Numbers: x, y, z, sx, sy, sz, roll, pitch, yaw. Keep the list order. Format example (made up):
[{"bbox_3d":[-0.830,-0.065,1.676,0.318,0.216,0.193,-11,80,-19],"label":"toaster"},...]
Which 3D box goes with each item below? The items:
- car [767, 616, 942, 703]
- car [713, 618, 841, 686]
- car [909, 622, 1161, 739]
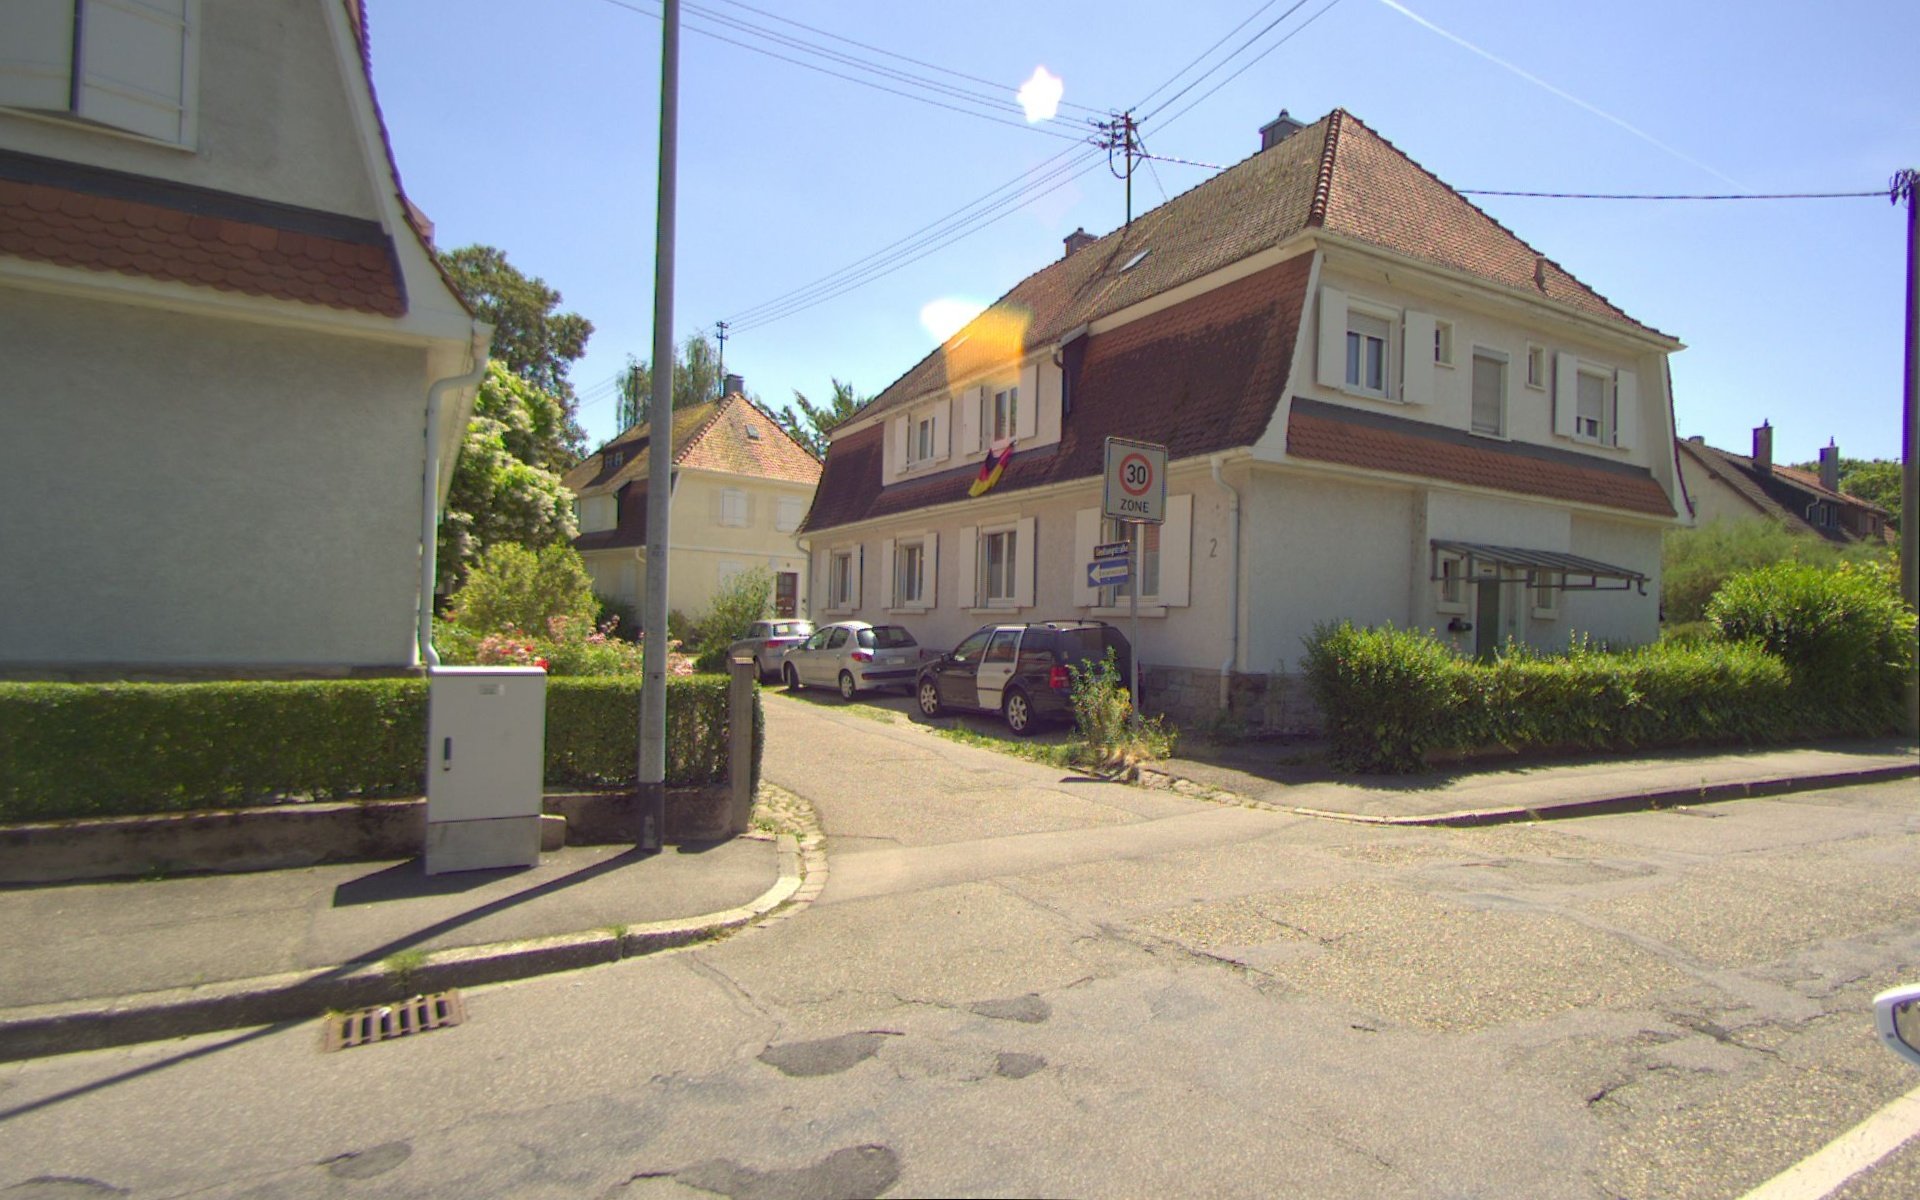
[{"bbox_3d":[-2.167,1.103,19.792,1.758,1.460,3.764,2,-1,-36],"label":"car"},{"bbox_3d":[-4.424,1.187,23.884,1.755,1.443,3.770,2,-1,-32],"label":"car"},{"bbox_3d":[0.947,1.049,14.580,1.756,1.443,3.769,1,-1,-33],"label":"car"}]
